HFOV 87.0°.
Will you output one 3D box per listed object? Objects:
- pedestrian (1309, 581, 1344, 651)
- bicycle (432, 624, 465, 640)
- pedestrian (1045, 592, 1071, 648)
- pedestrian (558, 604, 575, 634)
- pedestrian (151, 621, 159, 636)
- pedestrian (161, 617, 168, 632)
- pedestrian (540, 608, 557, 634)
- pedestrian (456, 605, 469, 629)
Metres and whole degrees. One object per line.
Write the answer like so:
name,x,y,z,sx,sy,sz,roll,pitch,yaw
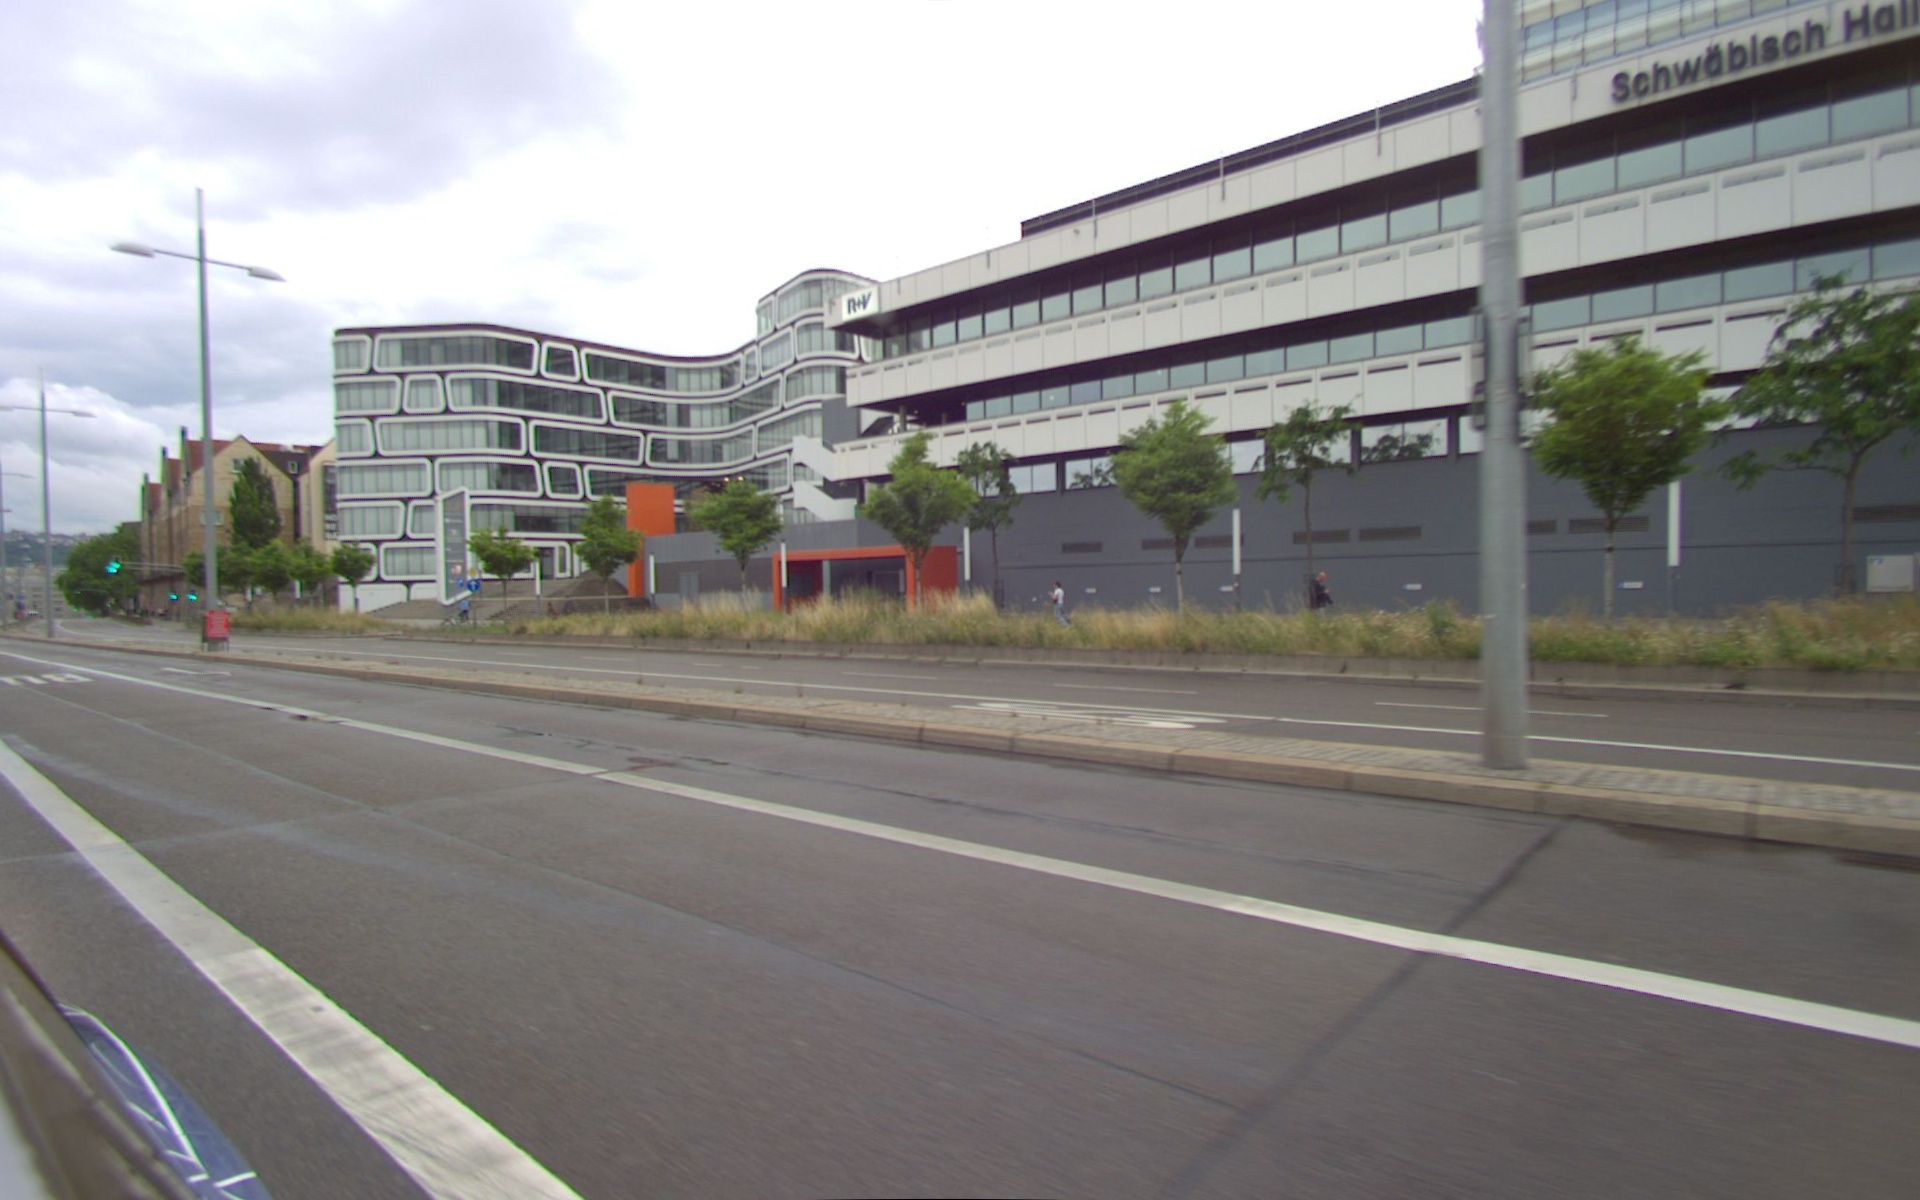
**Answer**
pedestrian,9.636,0.413,26.603,0.628,1.821,0.776,0,0,42
bicycle,-29.080,1.816,57.576,1.638,0.864,0.608,0,0,9
pedestrian,3.276,0.657,33.782,0.628,1.821,0.623,0,0,42
pedestrian,-22.224,1.079,57.189,0.798,1.670,0.611,0,-1,43
pedestrian,-96.111,3.394,120.849,0.668,1.792,0.684,0,0,-42
pedestrian,-97.137,2.940,123.554,0.668,1.792,0.684,0,0,-42
pedestrian,-22.922,1.166,56.326,0.798,1.457,0.611,0,0,43
pedestrian,-34.928,1.186,71.080,0.603,1.623,0.640,-2,1,-45
